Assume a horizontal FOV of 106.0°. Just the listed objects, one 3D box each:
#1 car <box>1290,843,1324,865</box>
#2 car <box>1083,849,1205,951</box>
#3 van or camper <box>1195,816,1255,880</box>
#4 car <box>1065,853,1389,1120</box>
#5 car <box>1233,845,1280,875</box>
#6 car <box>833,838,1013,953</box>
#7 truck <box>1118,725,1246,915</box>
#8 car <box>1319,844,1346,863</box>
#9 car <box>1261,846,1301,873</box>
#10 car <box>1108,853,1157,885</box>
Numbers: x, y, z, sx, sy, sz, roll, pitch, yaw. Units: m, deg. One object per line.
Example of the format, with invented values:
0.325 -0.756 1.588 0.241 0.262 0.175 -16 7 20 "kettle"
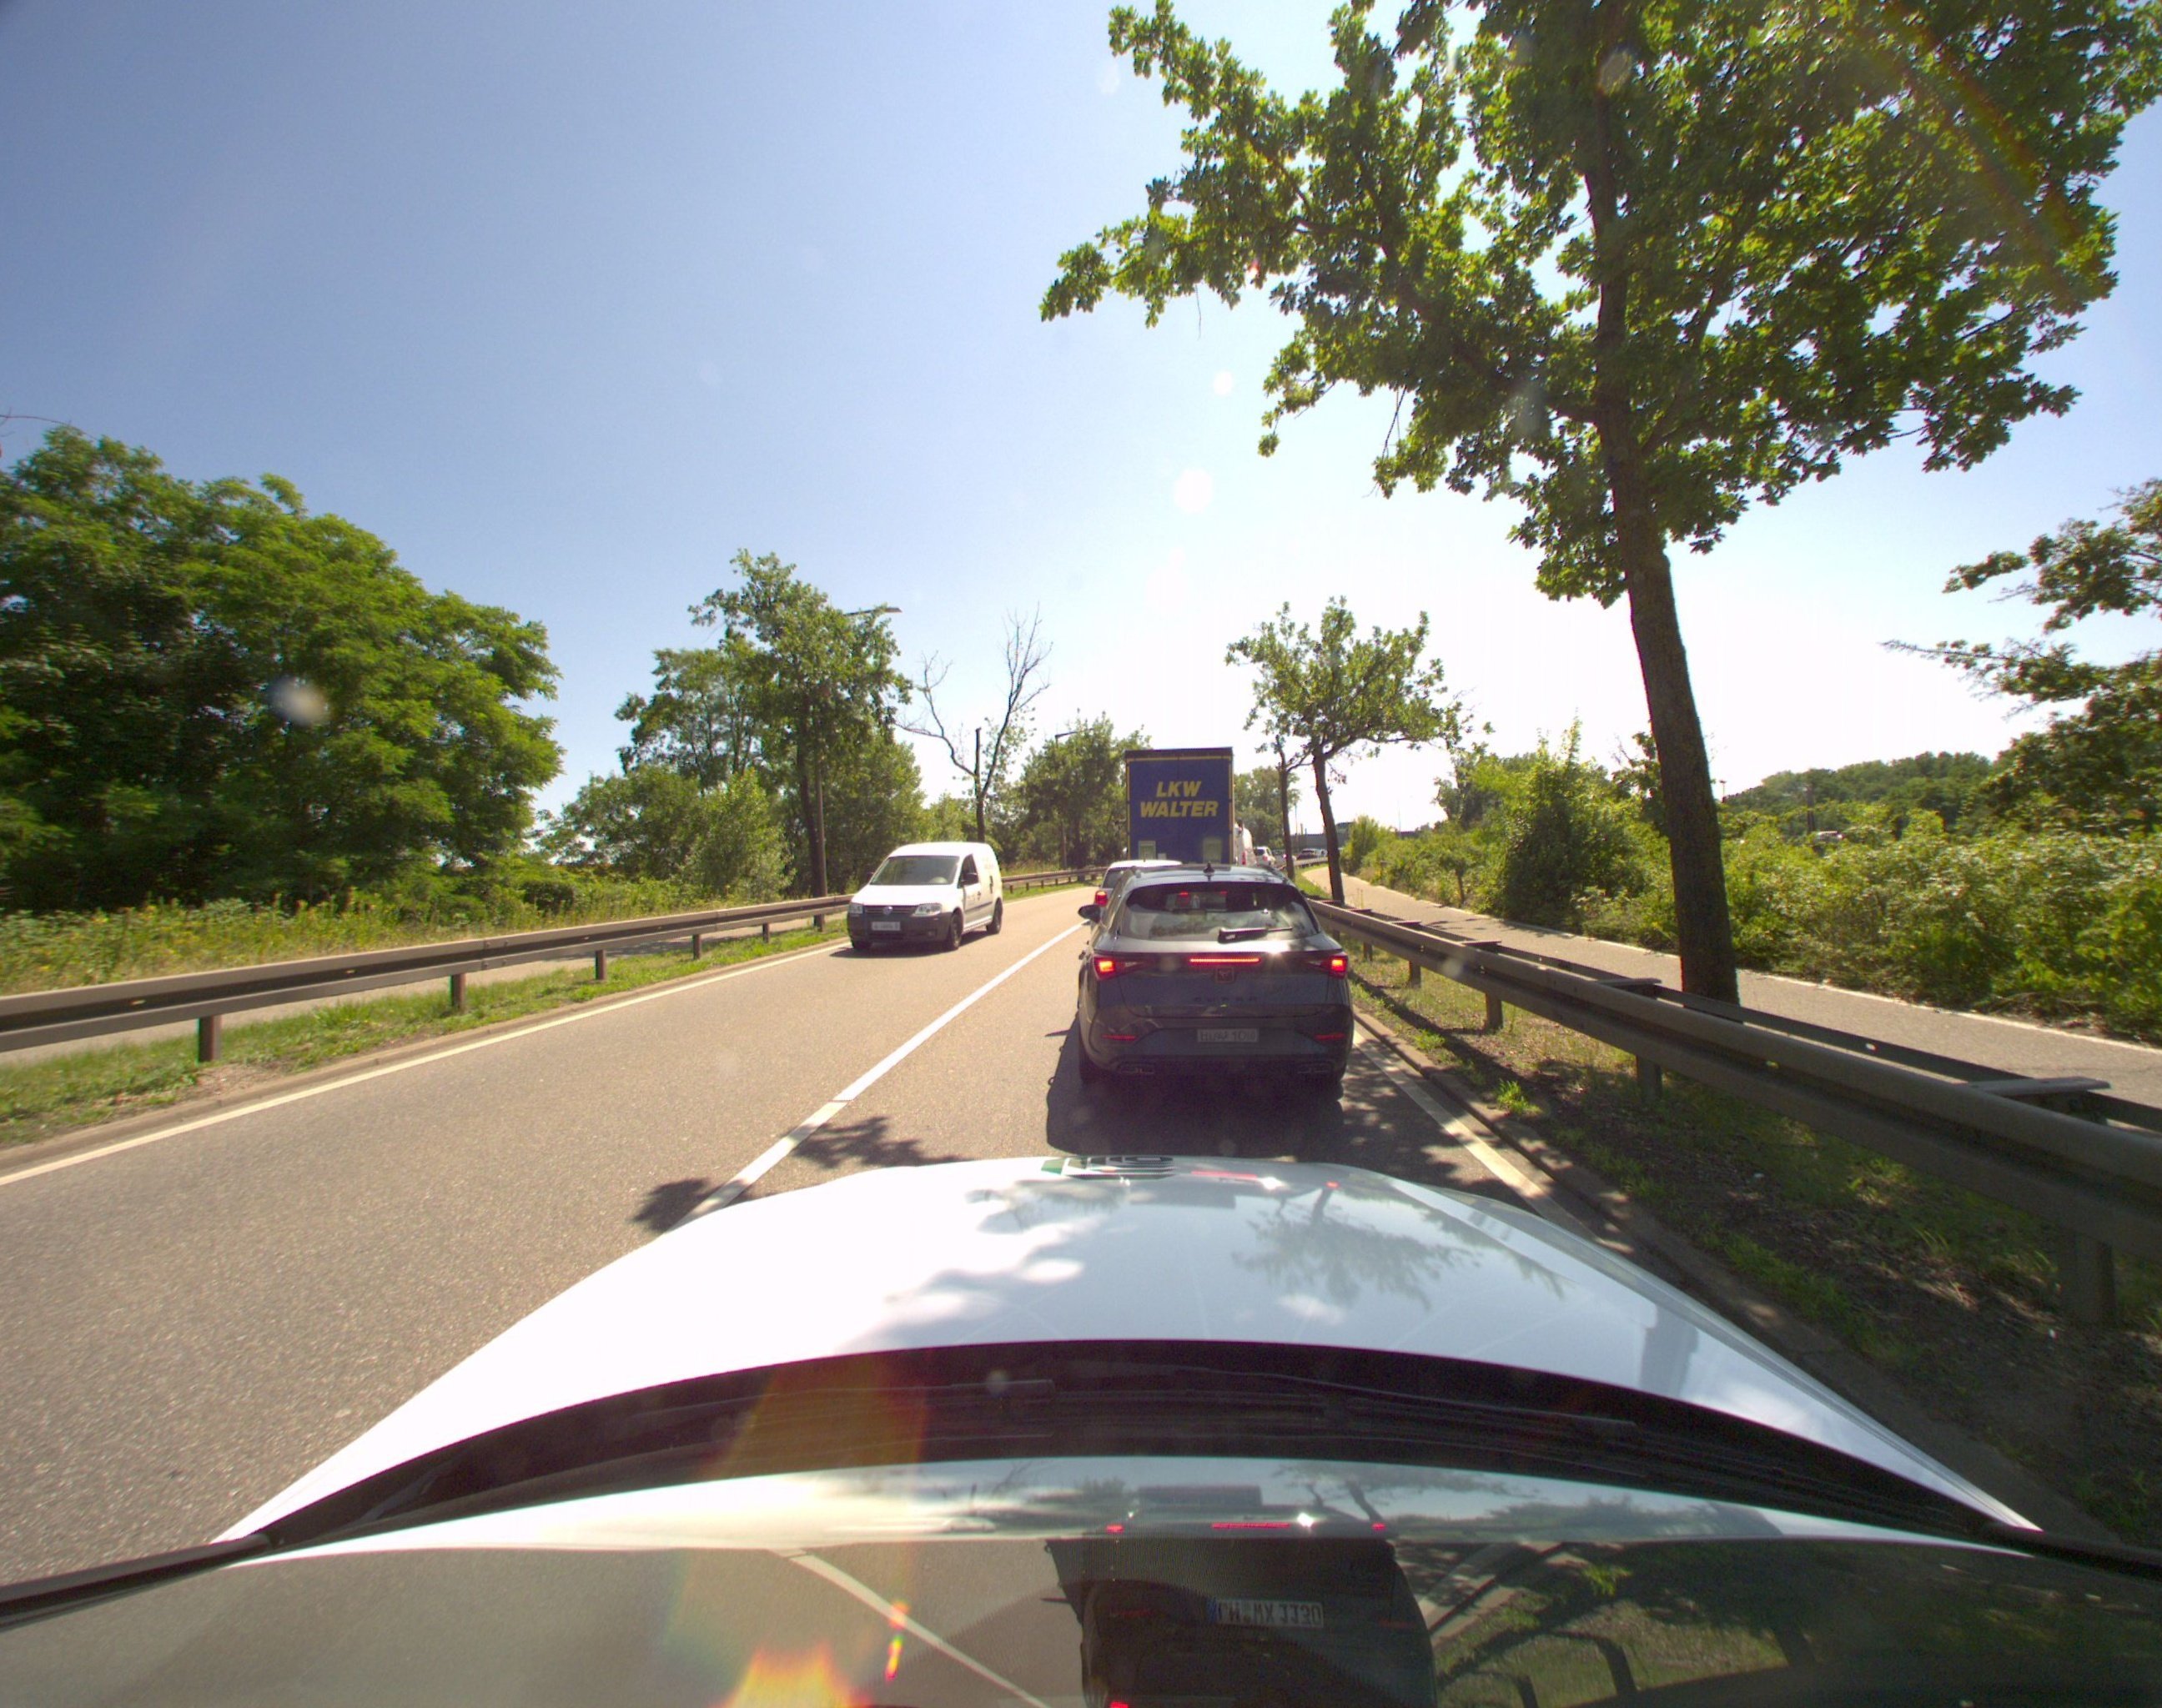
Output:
19.027 -0.008 68.467 1.975 1.717 4.896 -1 0 24 "car"
1.038 0.698 14.163 1.802 1.508 4.003 -1 0 3 "car"
7.344 -0.271 40.944 2.448 2.998 6.110 -1 0 14 "van or camper"
0.841 0.723 6.363 1.738 1.432 3.881 -1 0 1 "car"
10.693 0.343 49.381 1.976 1.712 4.644 -1 0 22 "car"
-2.644 0.650 14.801 1.735 1.763 4.401 -1 0 10 "car"
3.910 -0.777 27.497 2.931 4.449 16.847 -1 0 11 "truck"
24.388 -0.045 78.870 1.976 1.768 4.781 -1 0 24 "car"
14.059 0.351 57.067 1.976 1.808 4.871 -1 0 22 "car"
2.491 0.654 38.659 1.808 1.421 4.479 -1 0 10 "car"
